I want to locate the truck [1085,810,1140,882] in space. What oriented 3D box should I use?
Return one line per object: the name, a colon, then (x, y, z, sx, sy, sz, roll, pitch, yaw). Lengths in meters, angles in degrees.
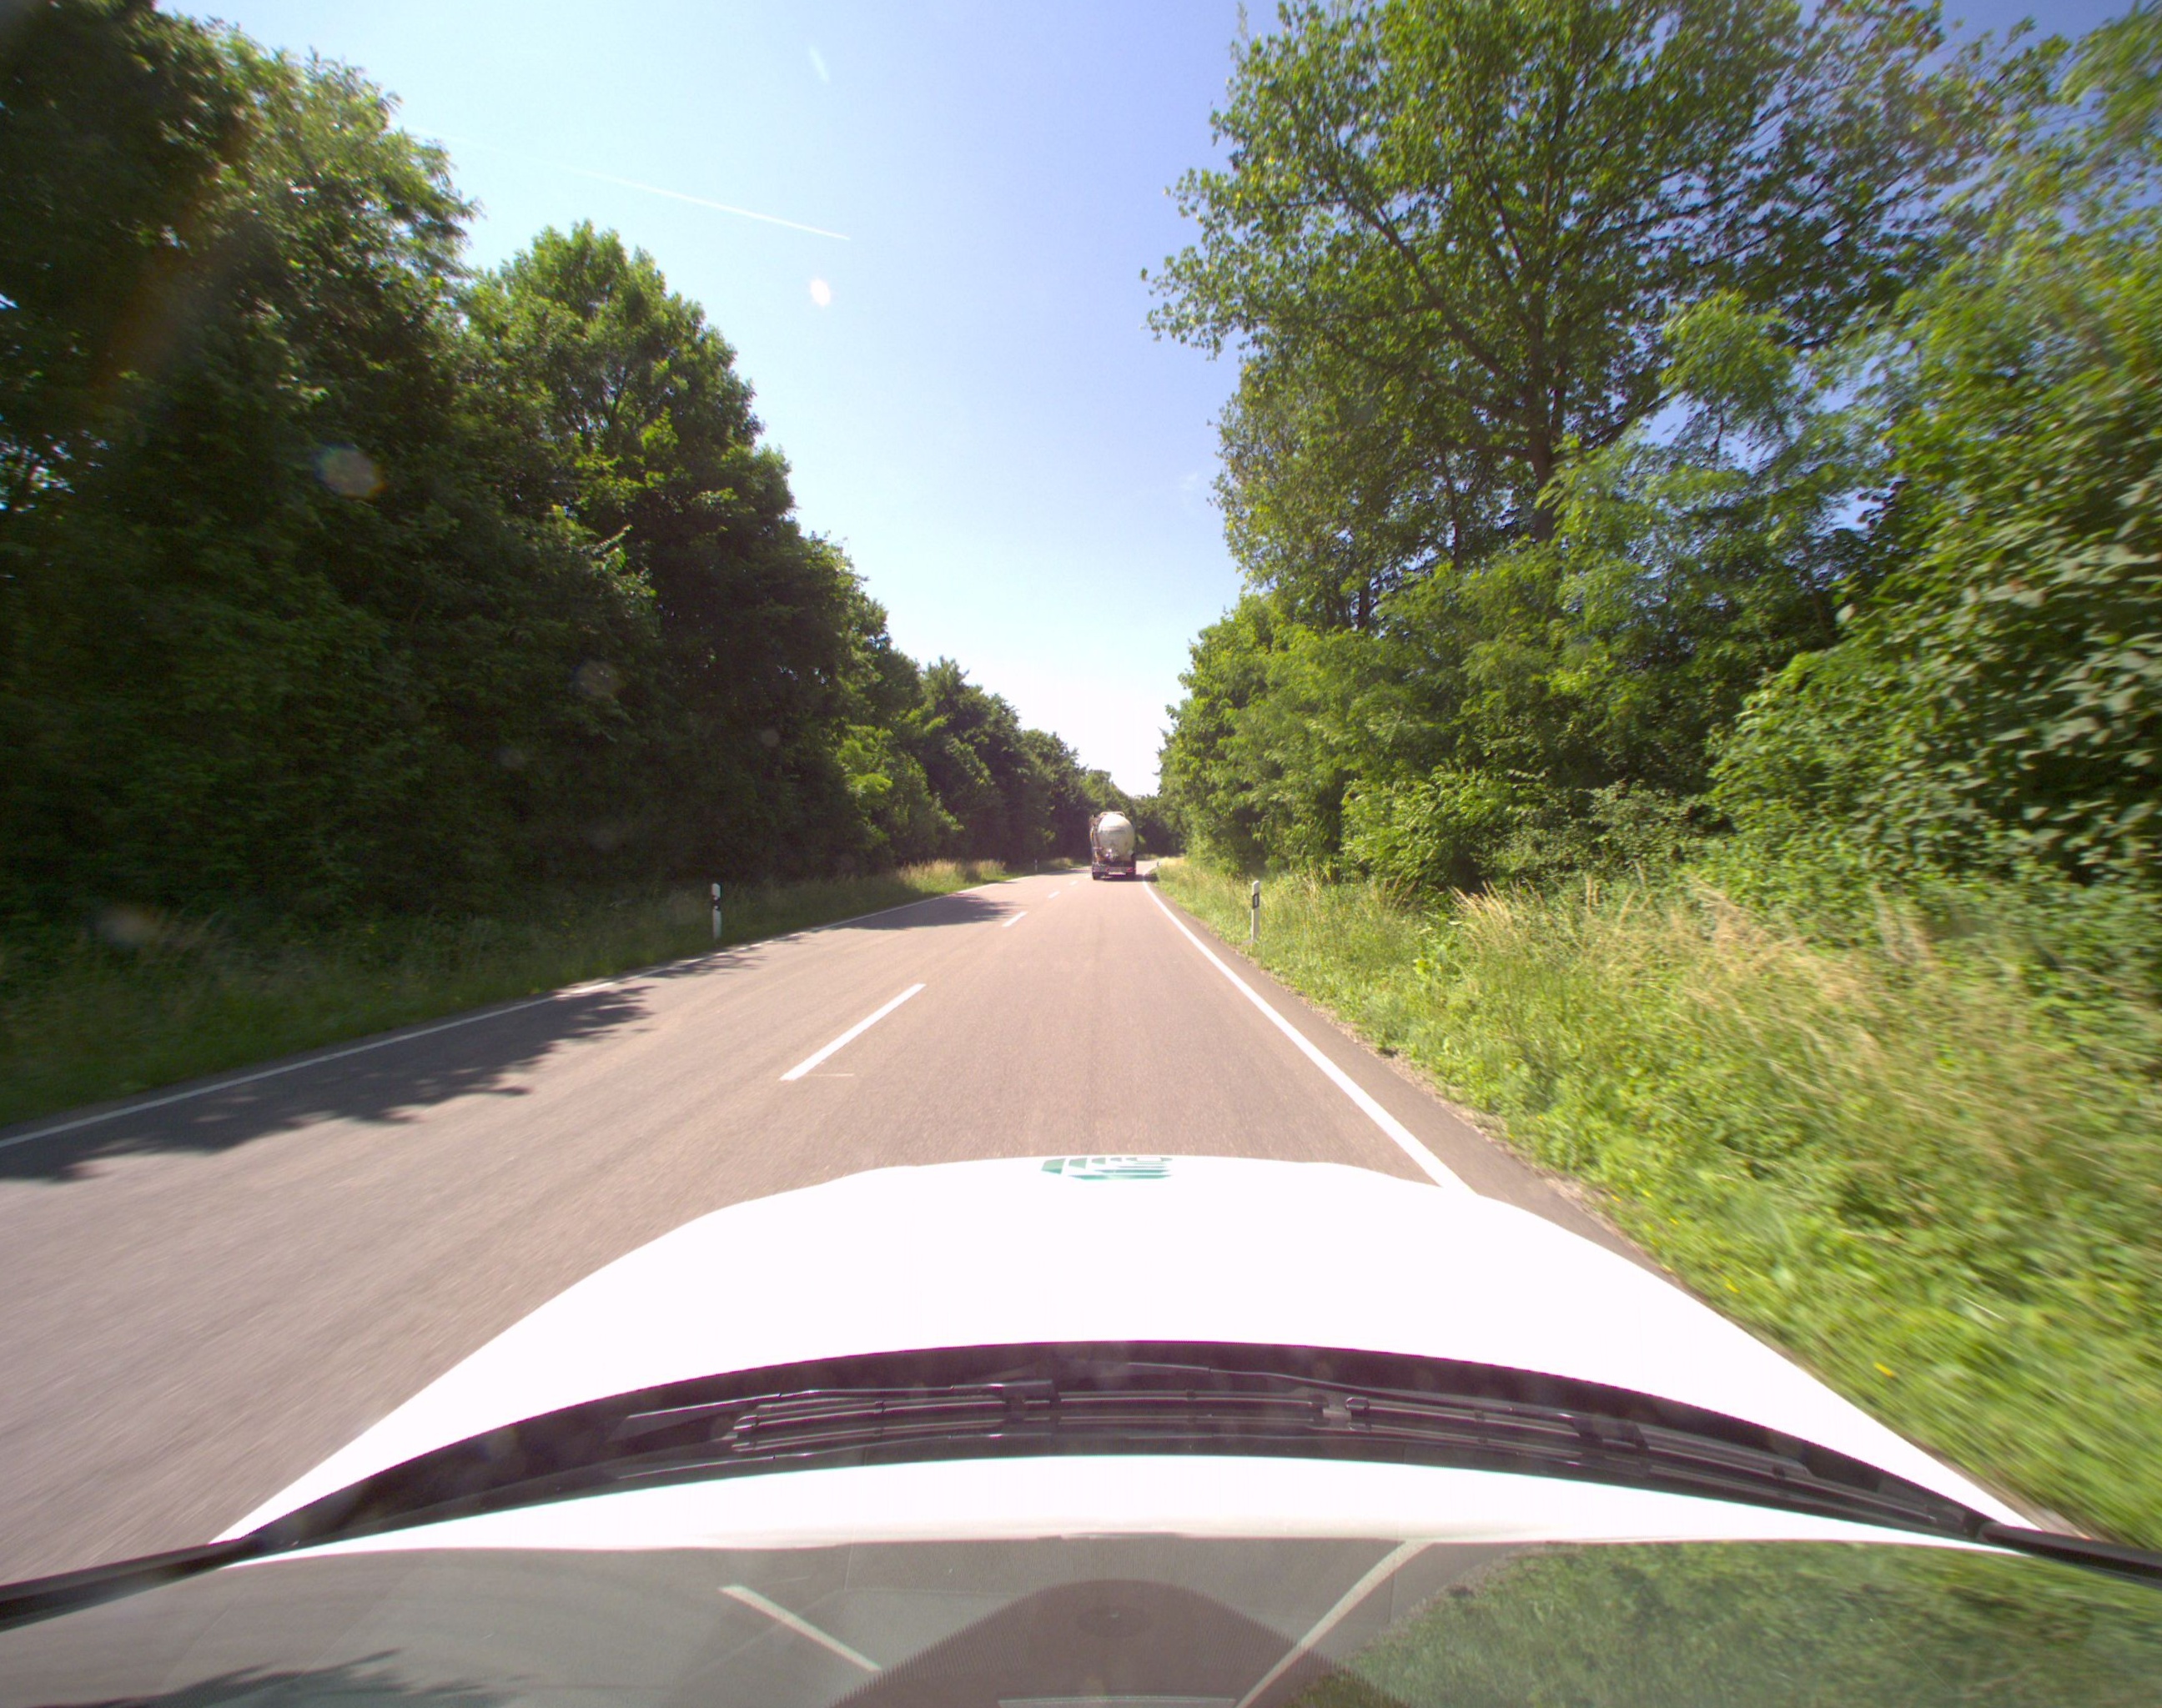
truck: (2.019, -0.465, 53.128, 3.038, 3.998, 15.643, 0, 0, 2)
